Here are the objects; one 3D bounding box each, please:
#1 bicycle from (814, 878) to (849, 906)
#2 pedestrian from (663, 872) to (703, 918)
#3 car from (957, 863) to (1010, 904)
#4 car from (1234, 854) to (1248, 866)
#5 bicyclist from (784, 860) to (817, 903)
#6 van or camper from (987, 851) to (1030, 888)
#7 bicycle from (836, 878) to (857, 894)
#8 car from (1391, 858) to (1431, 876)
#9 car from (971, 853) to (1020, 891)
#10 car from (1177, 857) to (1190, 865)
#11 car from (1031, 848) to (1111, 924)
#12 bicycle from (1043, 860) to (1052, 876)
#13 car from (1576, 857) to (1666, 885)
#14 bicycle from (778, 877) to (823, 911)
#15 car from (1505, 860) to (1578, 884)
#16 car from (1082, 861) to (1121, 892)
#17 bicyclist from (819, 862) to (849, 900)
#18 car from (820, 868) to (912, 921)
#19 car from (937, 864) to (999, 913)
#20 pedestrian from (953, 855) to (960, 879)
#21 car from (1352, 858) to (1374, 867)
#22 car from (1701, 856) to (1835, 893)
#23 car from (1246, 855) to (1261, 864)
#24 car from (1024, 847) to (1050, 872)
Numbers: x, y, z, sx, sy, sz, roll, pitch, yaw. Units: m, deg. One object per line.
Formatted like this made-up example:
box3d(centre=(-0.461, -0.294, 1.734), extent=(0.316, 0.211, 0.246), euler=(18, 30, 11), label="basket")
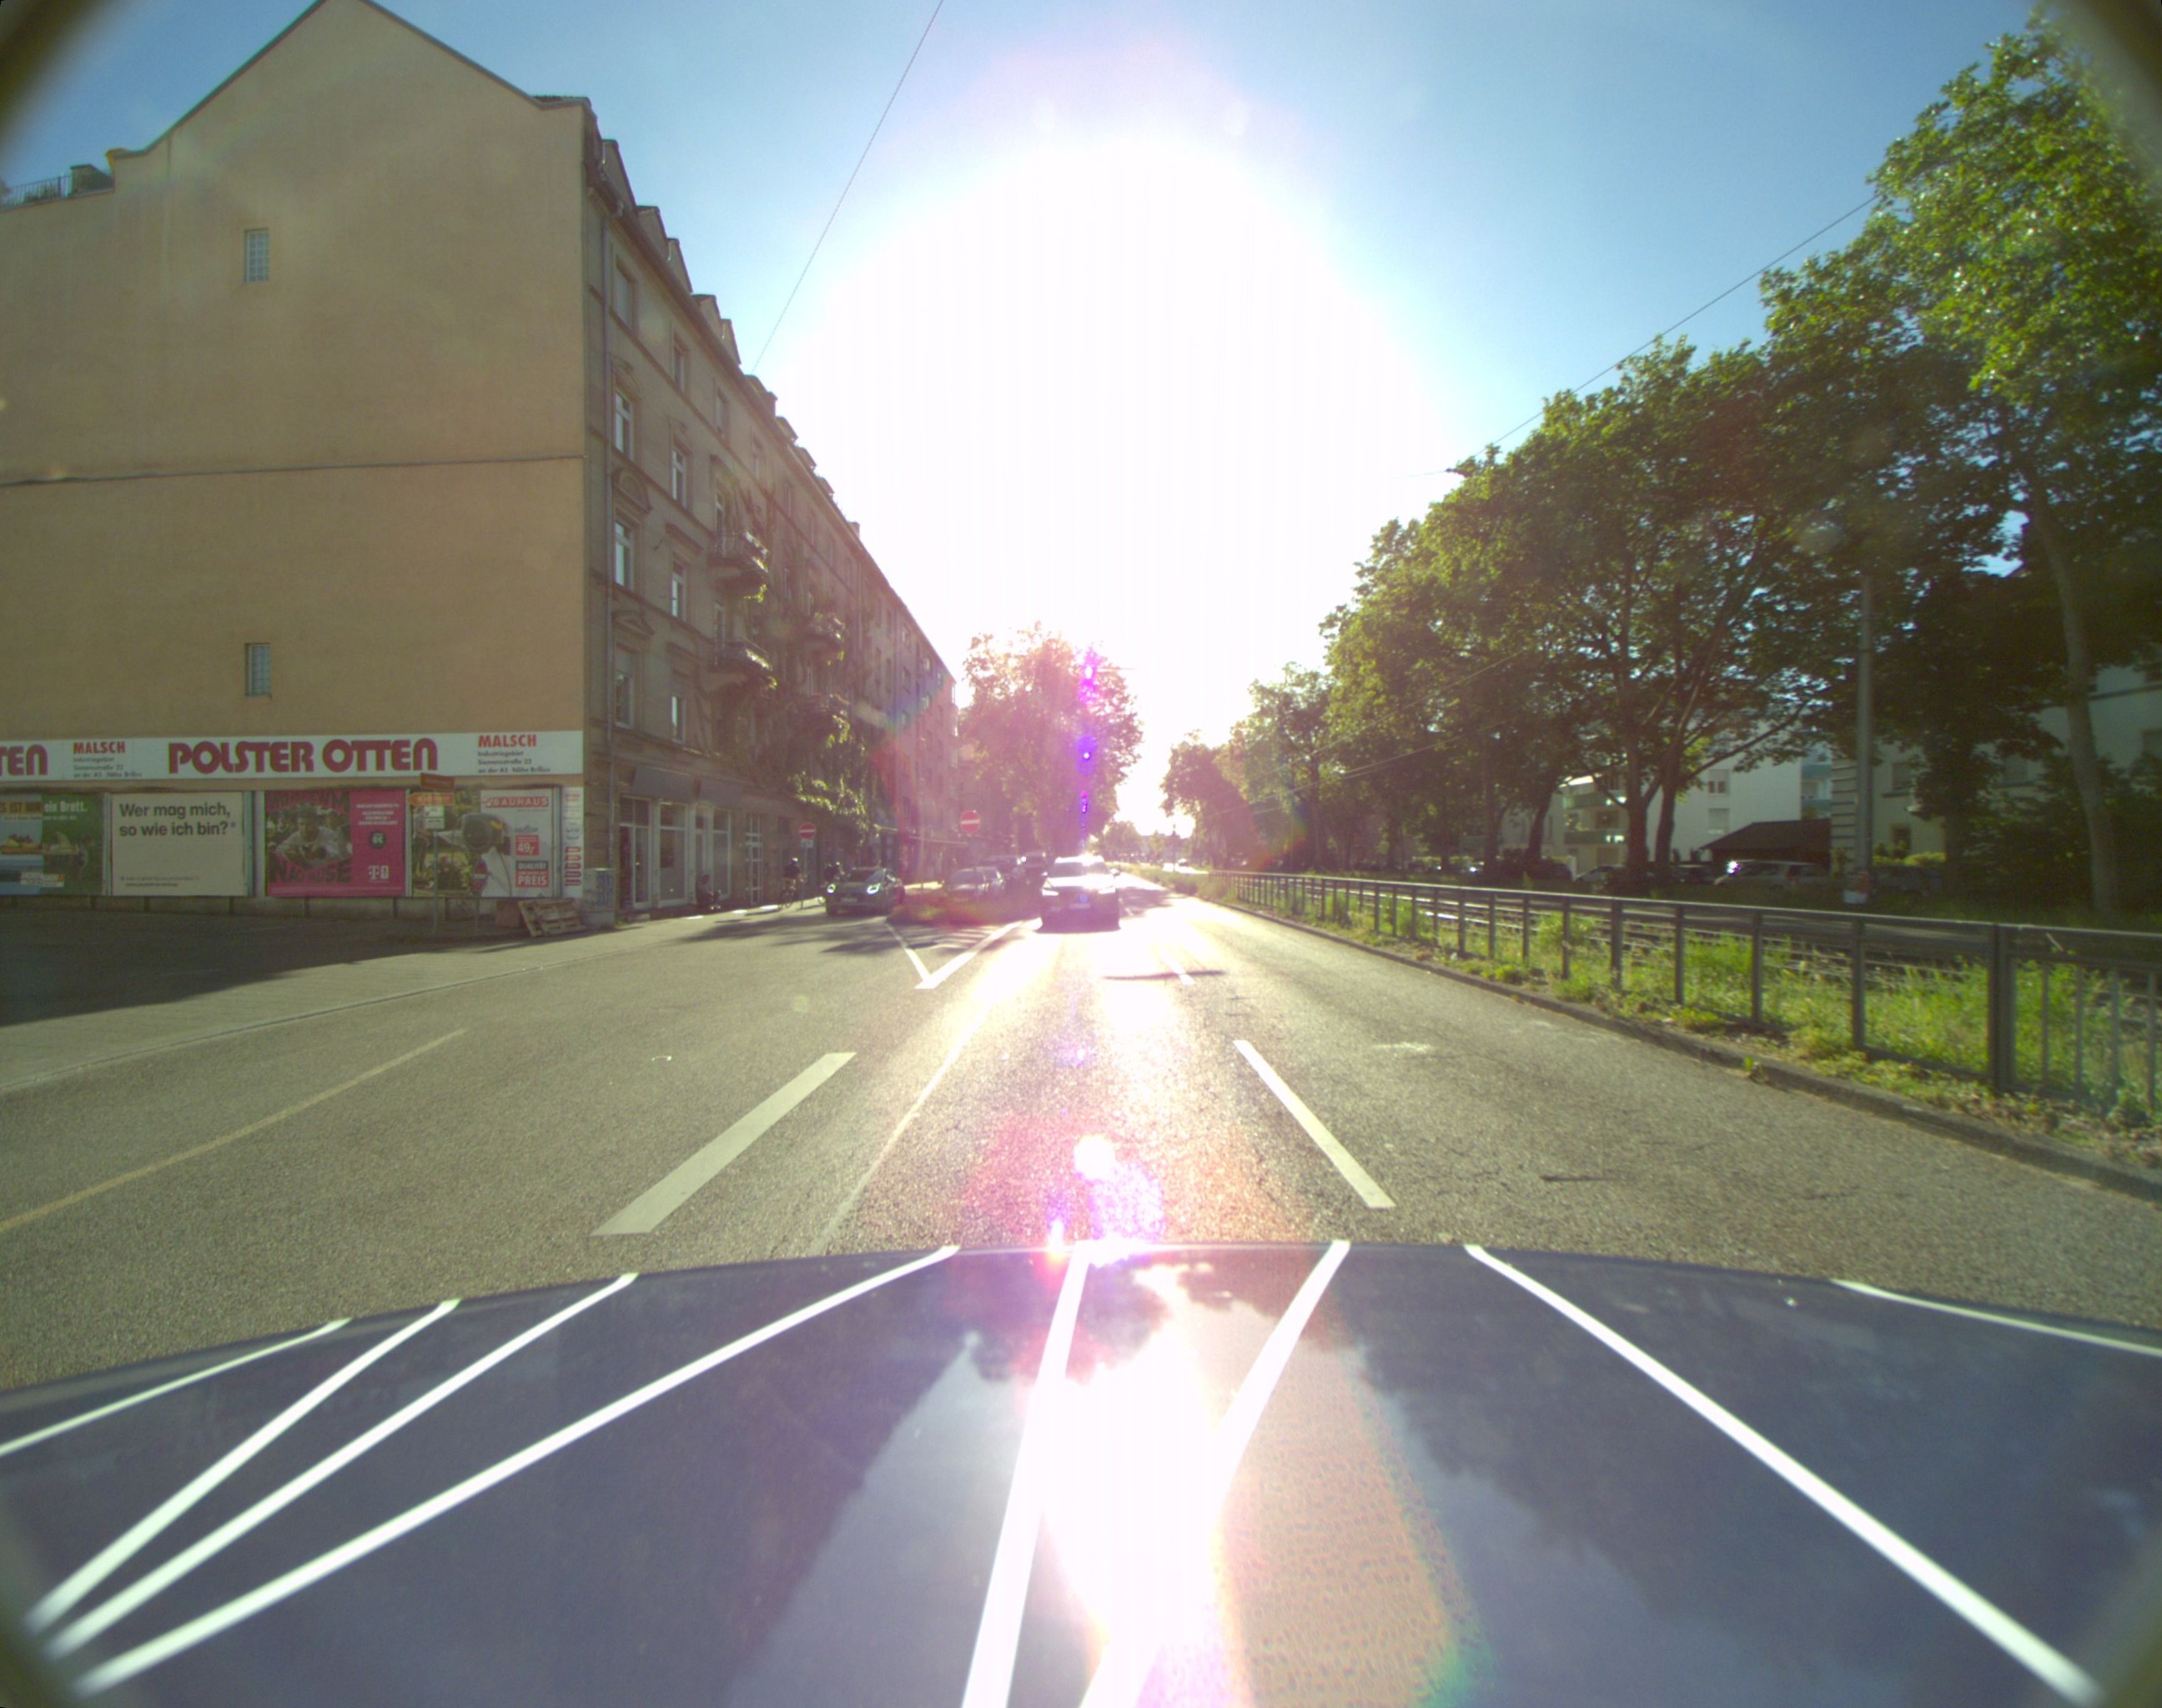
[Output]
box3d(centre=(-9.740, 1.462, 29.776), extent=(0.651, 0.915, 1.917), euler=(4, 1, 1), label="bicycle")
box3d(centre=(-11.485, 1.175, 21.939), extent=(0.717, 1.253, 0.713), euler=(2, 0, 1), label="pedestrian")
box3d(centre=(-4.036, 1.189, 32.071), extent=(1.743, 1.508, 3.999), euler=(-3, 0, -1), label="car")
box3d(centre=(28.294, 1.070, 134.778), extent=(1.998, 2.002, 4.002), euler=(0, 0, 5), label="car")
box3d(centre=(-9.745, 0.954, 26.441), extent=(0.746, 1.453, 0.951), euler=(-2, 1, 1), label="bicyclist")
box3d(centre=(-4.017, 0.831, 42.825), extent=(1.888, 2.002, 5.094), euler=(0, 0, 0), label="van or camper")
box3d(centre=(-11.015, 1.514, 35.747), extent=(0.469, 0.701, 1.513), euler=(0, 0, 1), label="bicycle")
box3d(centre=(28.665, 1.129, 66.154), extent=(1.801, 1.464, 4.000), euler=(0, 0, 1), label="car")
box3d(centre=(-4.124, 0.857, 37.300), extent=(1.869, 1.753, 4.000), euler=(0, 0, 1), label="car")
box3d(centre=(21.335, 1.404, 158.310), extent=(1.862, 1.637, 4.460), euler=(0, 0, -1), label="car")
box3d(centre=(-0.182, 0.769, 20.356), extent=(1.876, 1.788, 4.633), euler=(0, 0, 1), label="car")
box3d(centre=(-2.541, 1.031, 57.640), extent=(0.466, 1.206, 1.751), euler=(0, 0, 5), label="bicycle")
box3d(centre=(28.583, 0.865, 40.422), extent=(1.644, 1.316, 4.461), euler=(2, 0, 1), label="car")
box3d(centre=(-9.718, 1.371, 26.405), extent=(0.758, 1.095, 1.954), euler=(0, 0, 3), label="bicycle")
box3d(centre=(28.601, 1.078, 47.345), extent=(1.998, 1.444, 4.319), euler=(0, 0, 1), label="car")
box3d(centre=(0.996, 1.084, 37.801), extent=(1.608, 1.445, 3.780), euler=(0, 0, -3), label="car")
box3d(centre=(-9.661, 1.043, 29.752), extent=(0.678, 1.437, 1.182), euler=(4, 0, 1), label="bicyclist")
box3d(centre=(-7.078, 1.297, 25.488), extent=(1.701, 1.519, 4.381), euler=(-1, 0, 1), label="car")
box3d(centre=(-4.018, 1.199, 27.620), extent=(1.645, 1.508, 3.999), euler=(-3, 0, -1), label="car")
box3d(centre=(-9.580, 1.005, 58.606), extent=(0.470, 1.822, 0.516), euler=(0, 0, 1), label="pedestrian")
box3d(centre=(28.249, 0.817, 76.240), extent=(1.109, 0.871, 3.060), euler=(0, 0, 1), label="car")
box3d(centre=(28.401, 0.808, 31.629), extent=(1.739, 1.432, 4.319), euler=(0, 0, 1), label="car")
box3d(centre=(28.416, 0.892, 125.330), extent=(1.771, 1.477, 3.688), euler=(0, 0, 1), label="car")
box3d(centre=(-4.385, 0.543, 75.833), extent=(2.079, 2.420, 5.856), euler=(-1, 0, 1), label="car")
